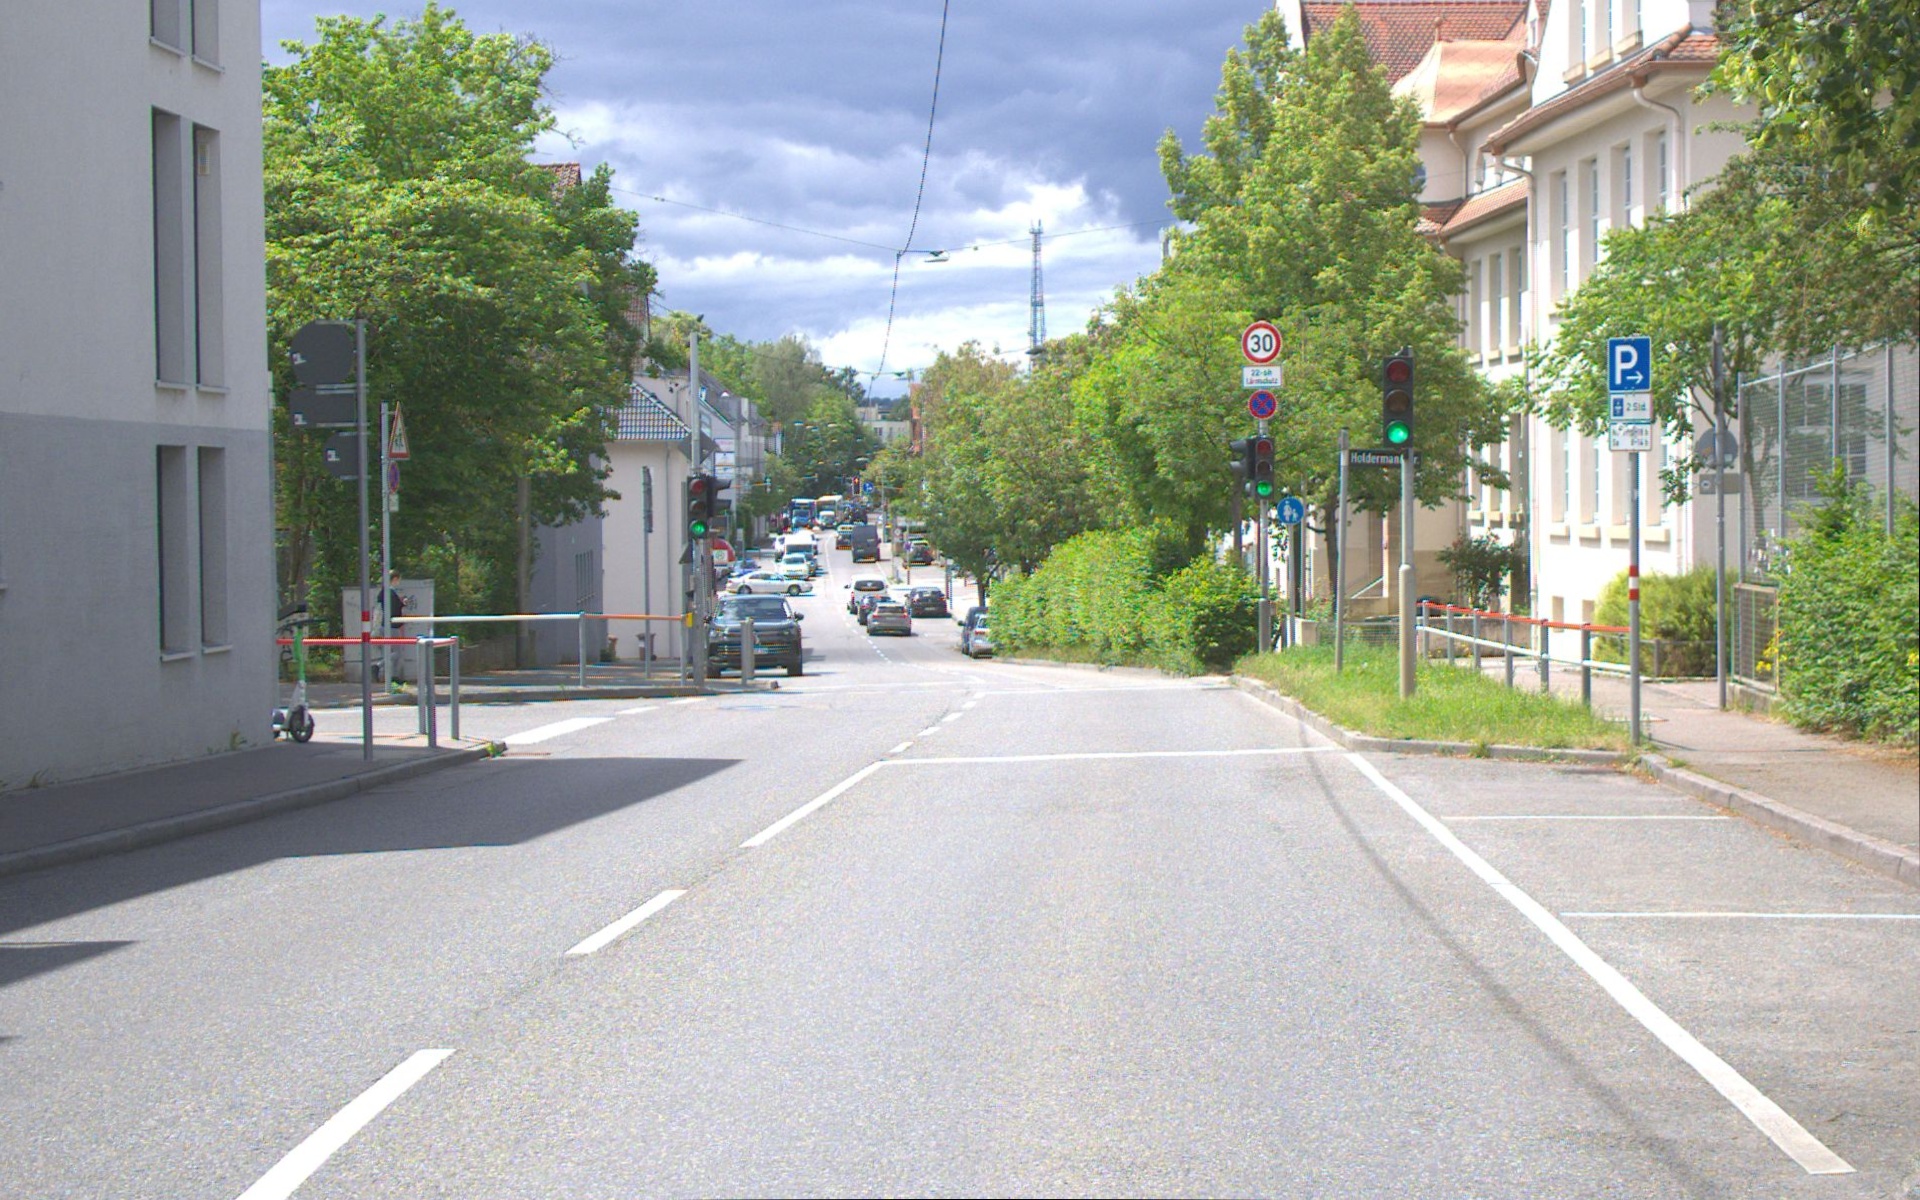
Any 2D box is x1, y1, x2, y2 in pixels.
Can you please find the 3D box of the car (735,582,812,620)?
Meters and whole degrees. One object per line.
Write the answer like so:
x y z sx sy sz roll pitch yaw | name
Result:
-10.361 0.069 190.959 3.986 2.007 2.000 1 0 -10 | car

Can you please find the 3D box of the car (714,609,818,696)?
-3.735 0.991 66.941 1.795 1.605 4.646 -1 0 -1 | car

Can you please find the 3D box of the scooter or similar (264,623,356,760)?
-6.176 0.855 32.612 0.489 1.257 1.307 -1 0 -27 | scooter or similar

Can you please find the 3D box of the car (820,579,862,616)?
-5.976 -0.129 172.372 1.836 1.855 3.851 0 0 -6 | car

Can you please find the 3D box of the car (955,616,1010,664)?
0.819 1.500 129.336 1.844 1.762 4.515 0 0 -2 | car

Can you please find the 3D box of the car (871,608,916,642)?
-2.984 1.124 154.216 1.744 1.412 4.001 3 0 -4 | car

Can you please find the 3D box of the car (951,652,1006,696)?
0.648 2.658 123.559 1.786 1.504 4.365 0 0 -2 | car

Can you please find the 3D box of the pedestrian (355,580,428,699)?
-7.666 0.523 46.341 0.770 1.592 0.672 0 0 -31 | pedestrian

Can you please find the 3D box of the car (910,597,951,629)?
-1.489 0.628 170.121 1.752 1.366 4.001 -1 3 -4 | car

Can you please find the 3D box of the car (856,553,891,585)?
-6.424 -2.303 254.143 2.436 2.310 5.327 0 0 -3 | car

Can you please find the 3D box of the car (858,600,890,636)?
-4.112 0.834 164.083 1.273 1.522 3.051 -1 3 -6 | car
